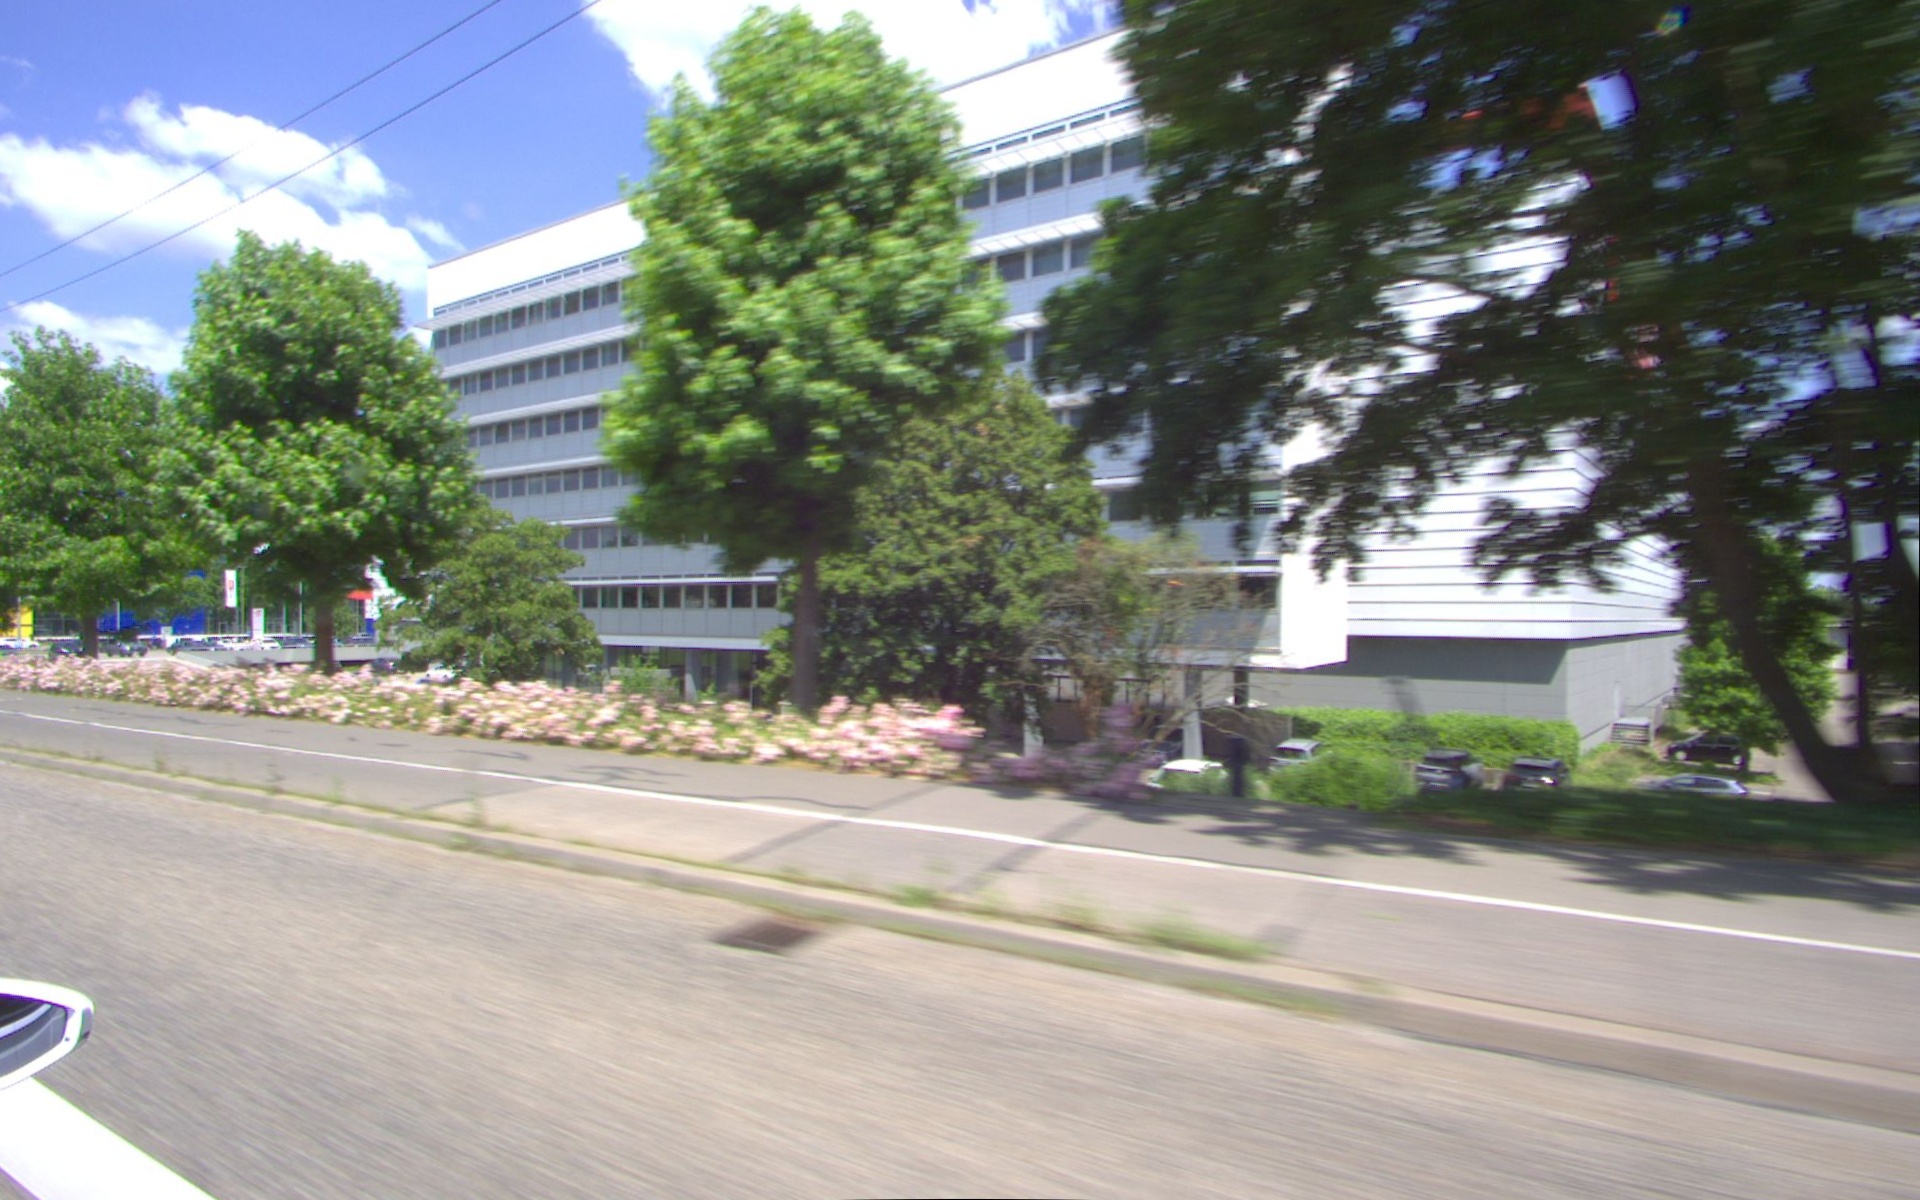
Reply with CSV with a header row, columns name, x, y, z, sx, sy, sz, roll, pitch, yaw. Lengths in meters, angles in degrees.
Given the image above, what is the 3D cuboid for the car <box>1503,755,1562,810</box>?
name,x,y,z,sx,sy,sz,roll,pitch,yaw
car,19.644,6.207,34.285,1.572,1.360,3.358,0,-2,33

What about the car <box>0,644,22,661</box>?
name,x,y,z,sx,sy,sz,roll,pitch,yaw
car,-89.104,4.840,93.221,3.831,1.501,1.569,0,-2,31

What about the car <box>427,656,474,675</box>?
name,x,y,z,sx,sy,sz,roll,pitch,yaw
car,-43.589,5.583,85.657,4.179,1.501,1.738,0,-2,33

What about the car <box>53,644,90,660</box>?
name,x,y,z,sx,sy,sz,roll,pitch,yaw
car,-87.685,5.109,98.827,3.831,1.501,1.569,0,-2,31

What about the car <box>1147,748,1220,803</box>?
name,x,y,z,sx,sy,sz,roll,pitch,yaw
car,7.272,5.623,32.371,1.353,1.268,3.362,0,-2,30

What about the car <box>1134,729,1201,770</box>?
name,x,y,z,sx,sy,sz,roll,pitch,yaw
car,8.573,6.123,41.261,1.439,1.302,3.355,-1,-2,36

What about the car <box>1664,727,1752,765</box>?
name,x,y,z,sx,sy,sz,roll,pitch,yaw
car,38.493,7.476,51.562,3.577,1.620,1.695,-1,-5,39

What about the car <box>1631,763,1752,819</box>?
name,x,y,z,sx,sy,sz,roll,pitch,yaw
car,27.346,7.121,37.558,3.573,1.620,1.698,-1,-5,36

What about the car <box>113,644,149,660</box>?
name,x,y,z,sx,sy,sz,roll,pitch,yaw
car,-84.012,5.237,101.460,3.831,1.501,1.569,0,-2,31

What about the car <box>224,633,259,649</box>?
name,x,y,z,sx,sy,sz,roll,pitch,yaw
car,-74.495,4.247,103.835,3.831,1.501,1.569,0,-2,31

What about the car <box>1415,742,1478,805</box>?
name,x,y,z,sx,sy,sz,roll,pitch,yaw
car,17.371,6.114,35.712,1.571,1.613,3.357,2,1,33

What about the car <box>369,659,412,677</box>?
name,x,y,z,sx,sy,sz,roll,pitch,yaw
car,-52.159,6.220,91.693,3.907,1.501,1.738,0,-2,33

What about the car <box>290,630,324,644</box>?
name,x,y,z,sx,sy,sz,roll,pitch,yaw
car,-69.691,3.951,106.862,3.831,1.501,1.569,0,-2,31

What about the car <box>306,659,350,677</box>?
name,x,y,z,sx,sy,sz,roll,pitch,yaw
car,-55.883,5.989,88.514,3.907,1.501,1.738,0,-2,33

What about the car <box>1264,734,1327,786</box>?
name,x,y,z,sx,sy,sz,roll,pitch,yaw
car,12.836,6.050,38.213,1.523,1.536,3.358,0,-2,33
